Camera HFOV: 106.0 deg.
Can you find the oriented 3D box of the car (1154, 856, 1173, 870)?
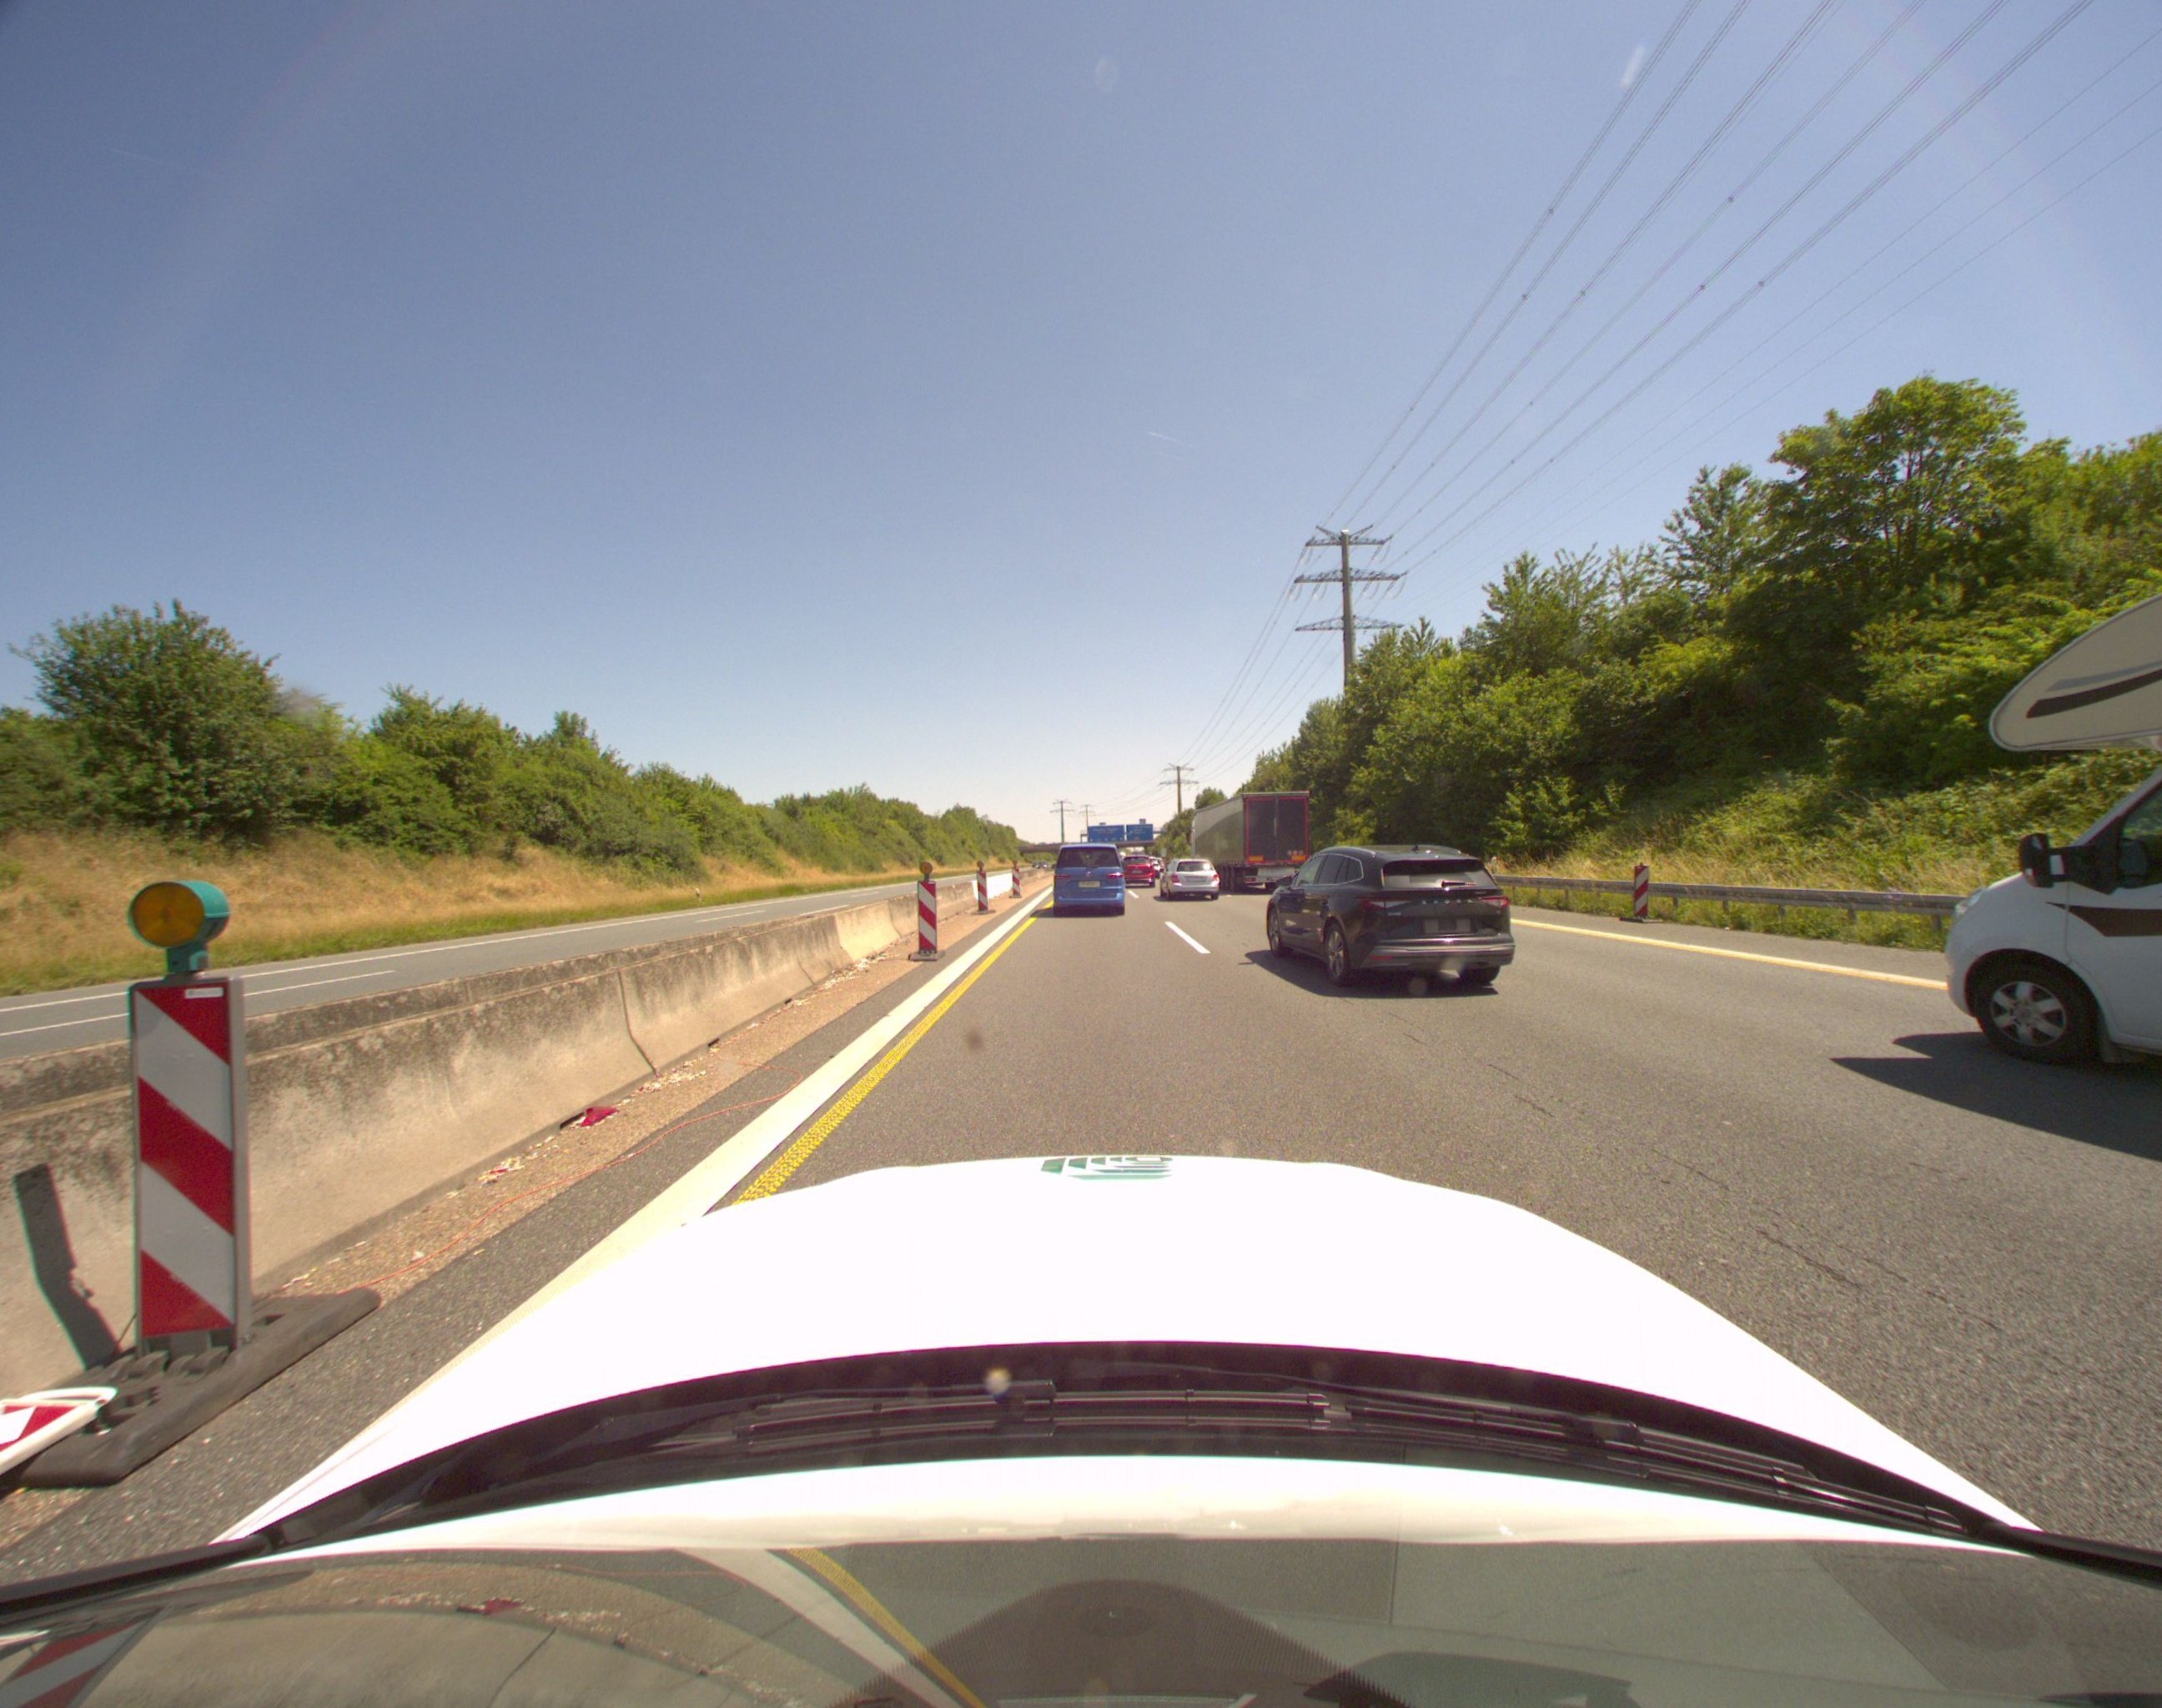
[{"bbox_3d":[8.885,1.003,88.123,1.695,1.448,3.787,0,-1,0],"label":"car"}]

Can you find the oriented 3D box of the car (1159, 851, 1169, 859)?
[{"bbox_3d":[19.532,0.219,192.457,1.869,1.671,4.358,0,-1,0],"label":"car"}]

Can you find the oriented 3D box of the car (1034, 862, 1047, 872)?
[{"bbox_3d":[-6.672,2.121,134.934,1.856,1.490,4.494,-3,0,1],"label":"car"}]

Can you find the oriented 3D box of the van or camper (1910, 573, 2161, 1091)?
[{"bbox_3d":[7.497,-0.155,2.423,2.361,3.043,7.633,0,-1,1],"label":"van or camper"}]

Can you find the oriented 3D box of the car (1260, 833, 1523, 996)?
[{"bbox_3d":[3.667,0.639,10.557,1.695,1.655,4.428,0,-1,-1],"label":"car"}]

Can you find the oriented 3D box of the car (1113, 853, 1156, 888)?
[{"bbox_3d":[2.676,0.813,41.366,1.869,1.671,4.358,0,-1,0],"label":"car"}]

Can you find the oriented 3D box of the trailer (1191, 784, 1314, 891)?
[{"bbox_3d":[7.371,-0.579,37.304,2.775,4.047,13.107,0,-1,0],"label":"trailer"}]

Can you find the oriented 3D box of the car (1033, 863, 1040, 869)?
[{"bbox_3d":[-11.201,2.990,204.822,1.703,1.464,3.848,-3,-1,-1],"label":"car"}]

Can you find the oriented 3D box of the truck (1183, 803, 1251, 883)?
[{"bbox_3d":[7.315,-0.535,44.527,2.724,4.047,5.792,0,-1,0],"label":"truck"}]

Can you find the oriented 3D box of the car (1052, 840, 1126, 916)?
[{"bbox_3d":[0.197,0.615,22.683,1.869,1.912,4.358,0,-1,0],"label":"car"}]

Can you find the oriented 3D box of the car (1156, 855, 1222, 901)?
[{"bbox_3d":[3.767,0.802,29.191,1.765,1.517,4.358,0,-1,0],"label":"car"}]

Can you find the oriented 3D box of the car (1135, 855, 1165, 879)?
[{"bbox_3d":[4.828,0.885,57.247,1.792,1.594,4.226,0,-1,0],"label":"car"}]
